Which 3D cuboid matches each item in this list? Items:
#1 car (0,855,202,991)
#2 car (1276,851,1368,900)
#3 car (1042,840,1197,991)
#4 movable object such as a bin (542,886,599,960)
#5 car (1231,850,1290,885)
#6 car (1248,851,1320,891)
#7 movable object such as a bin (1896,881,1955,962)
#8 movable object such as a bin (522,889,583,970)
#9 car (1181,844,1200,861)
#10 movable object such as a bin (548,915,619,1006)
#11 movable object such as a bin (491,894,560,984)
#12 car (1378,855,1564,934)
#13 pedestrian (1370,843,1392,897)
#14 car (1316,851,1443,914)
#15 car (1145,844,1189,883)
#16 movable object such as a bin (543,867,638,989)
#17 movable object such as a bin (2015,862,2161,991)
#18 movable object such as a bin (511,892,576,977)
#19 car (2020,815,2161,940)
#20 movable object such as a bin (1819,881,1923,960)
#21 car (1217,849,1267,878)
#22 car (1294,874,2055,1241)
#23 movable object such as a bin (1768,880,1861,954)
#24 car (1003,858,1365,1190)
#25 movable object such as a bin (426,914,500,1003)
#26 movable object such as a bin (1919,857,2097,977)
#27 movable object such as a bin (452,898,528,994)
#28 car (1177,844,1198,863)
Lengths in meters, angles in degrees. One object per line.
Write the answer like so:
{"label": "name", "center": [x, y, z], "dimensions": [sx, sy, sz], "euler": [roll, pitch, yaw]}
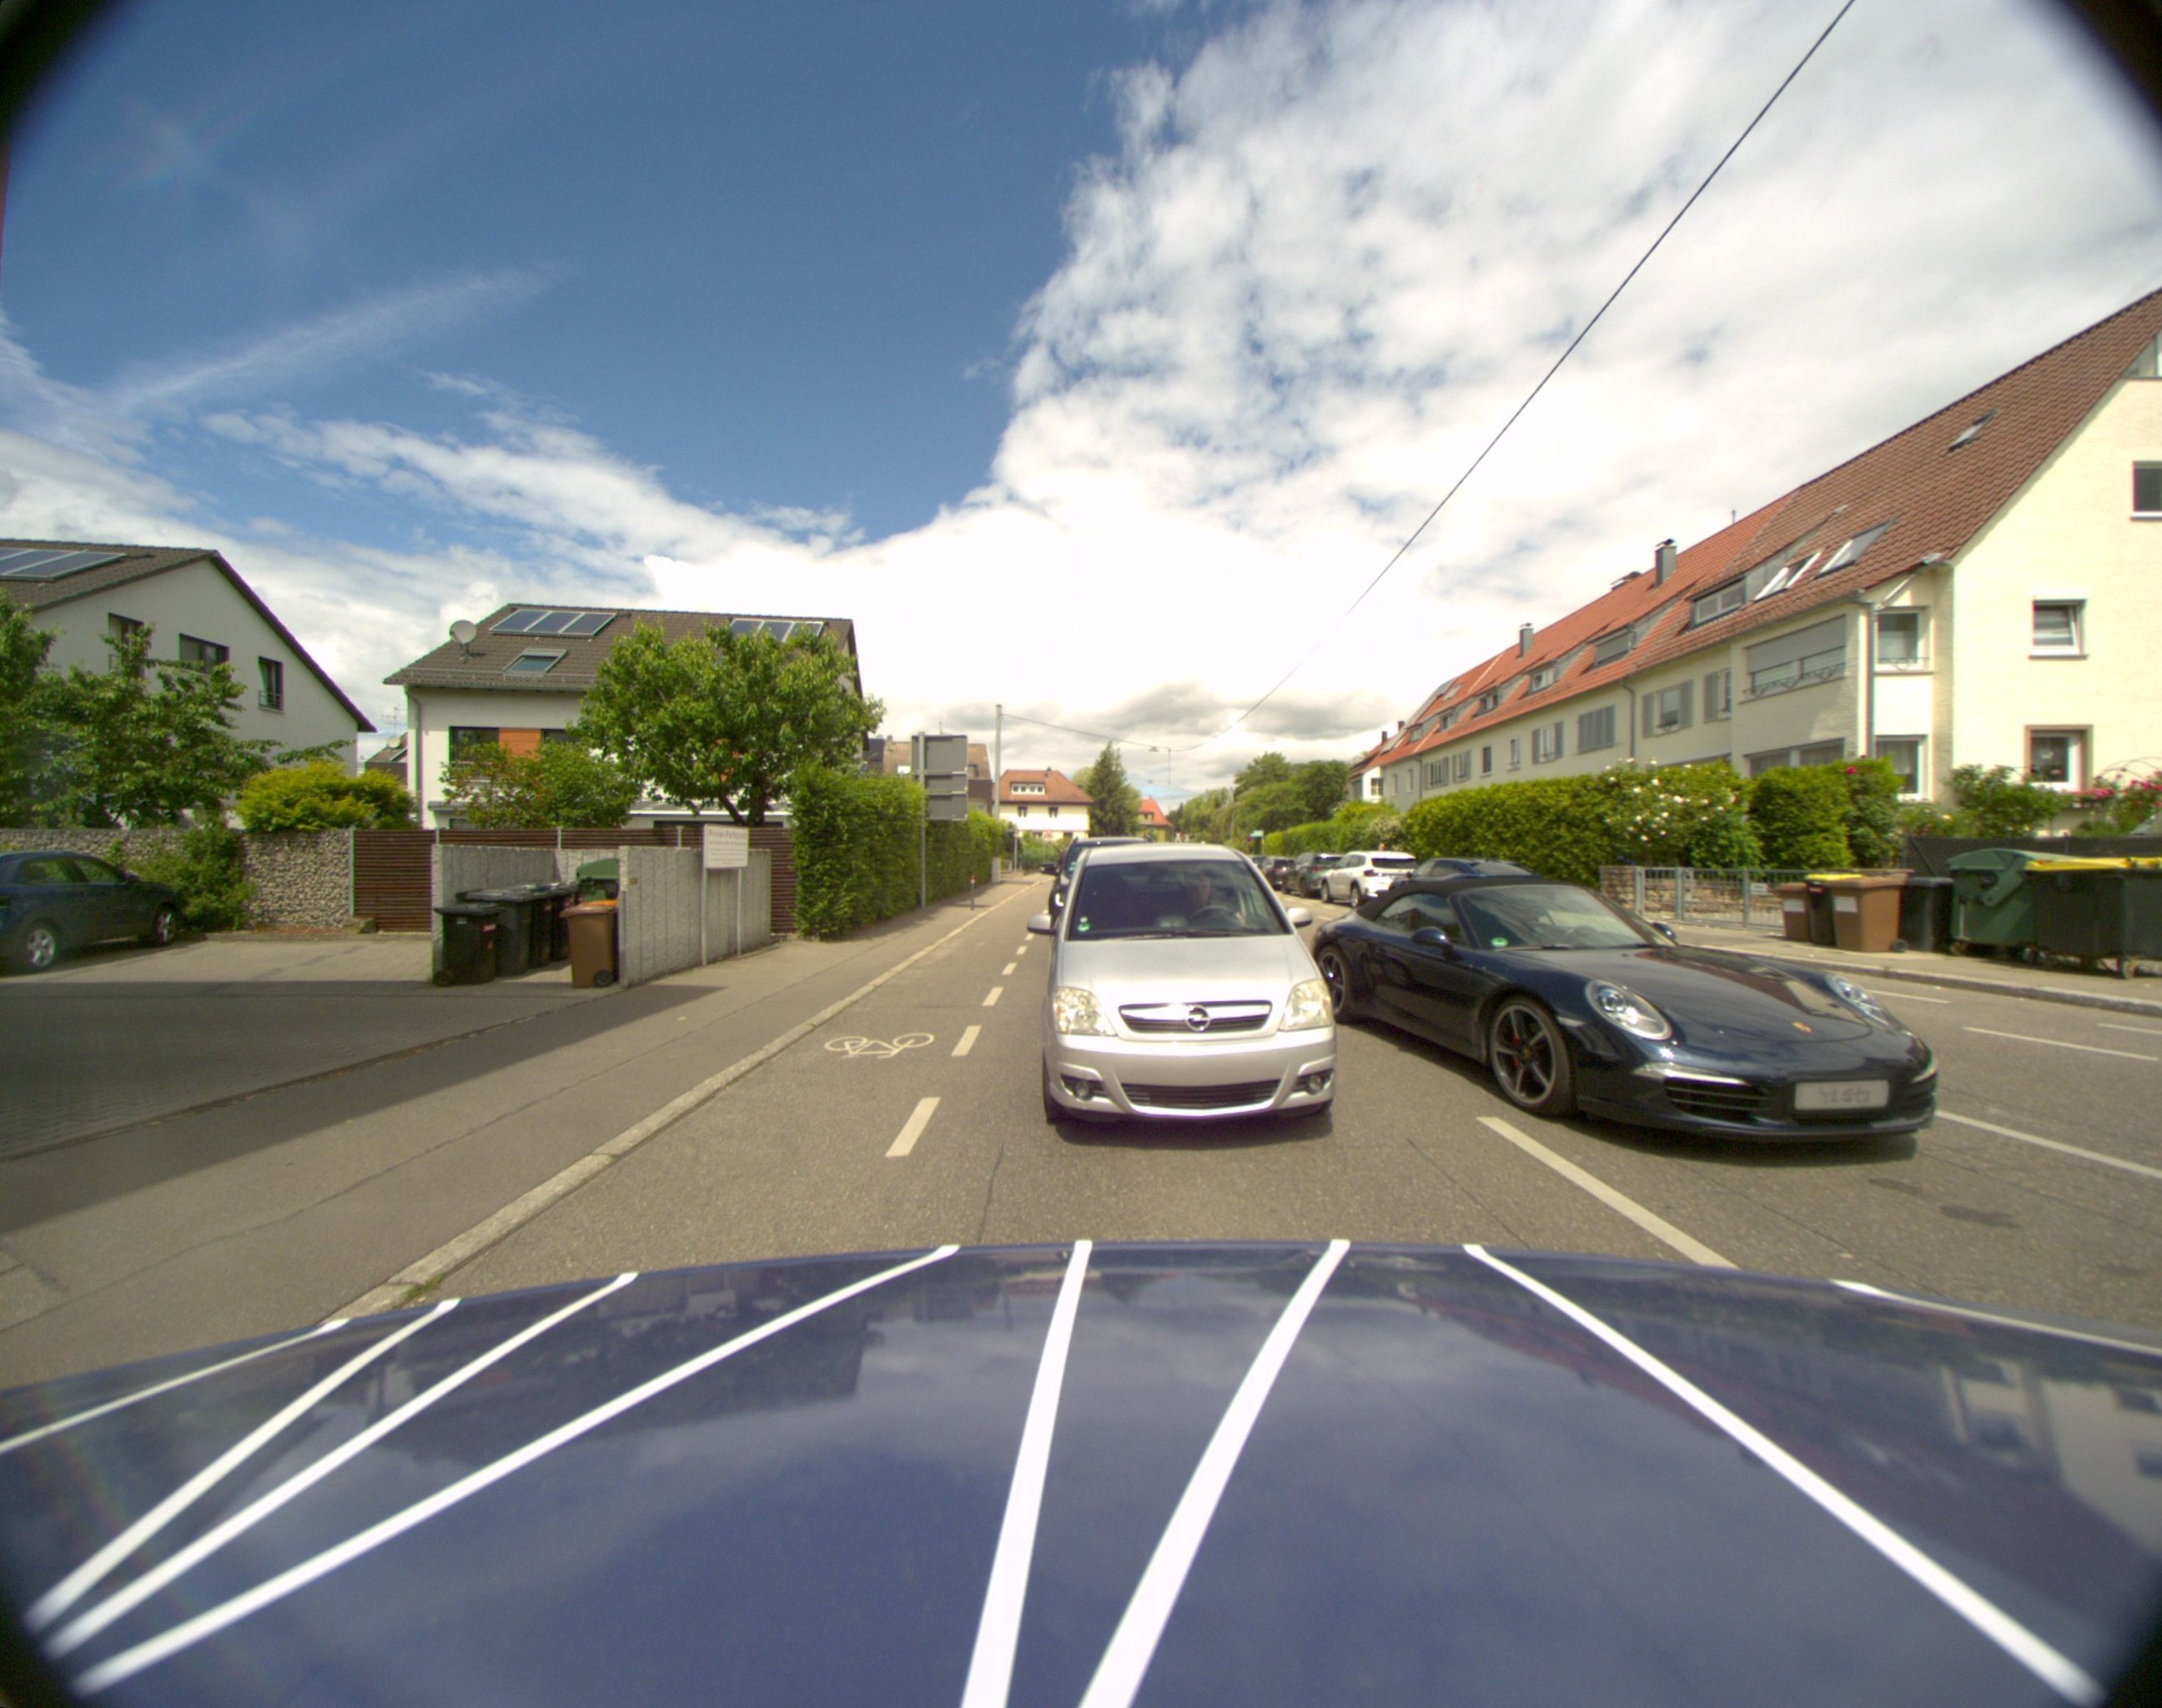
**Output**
{"label": "car", "center": [-14.828, 0.857, 10.525], "dimensions": [2.003, 1.587, 3.991], "euler": [-1, 2, -26]}
{"label": "car", "center": [8.625, 0.711, 27.580], "dimensions": [1.998, 1.623, 4.236], "euler": [-1, 1, 0]}
{"label": "car", "center": [0.421, 0.736, 12.017], "dimensions": [1.887, 1.838, 5.219], "euler": [-1, 1, -1]}
{"label": "movable object such as a bin", "center": [-7.881, 1.055, 11.744], "dimensions": [0.596, 1.069, 0.488], "euler": [-1, 1, -19]}
{"label": "car", "center": [9.059, 0.627, 38.646], "dimensions": [1.998, 1.623, 4.236], "euler": [-1, 1, 0]}
{"label": "car", "center": [8.723, 0.676, 33.053], "dimensions": [1.998, 1.623, 4.236], "euler": [0, 1, 0]}
{"label": "movable object such as a bin", "center": [11.916, 0.932, 10.724], "dimensions": [0.657, 1.059, 0.522], "euler": [-2, 1, -39]}
{"label": "movable object such as a bin", "center": [-7.485, 1.057, 10.777], "dimensions": [0.596, 1.069, 0.488], "euler": [-1, 1, -24]}
{"label": "car", "center": [12.868, -0.234, 89.051], "dimensions": [1.997, 1.904, 4.072], "euler": [-1, 1, 11]}
{"label": "movable object such as a bin", "center": [-5.499, 1.159, 8.418], "dimensions": [0.519, 0.916, 0.478], "euler": [-1, 1, -18]}
{"label": "movable object such as a bin", "center": [-7.116, 1.070, 9.763], "dimensions": [0.596, 1.069, 0.488], "euler": [-1, 1, -24]}
{"label": "car", "center": [8.612, 0.811, 17.309], "dimensions": [1.819, 1.493, 4.452], "euler": [-1, 1, -2]}
{"label": "pedestrian", "center": [10.216, 0.526, 25.880], "dimensions": [0.533, 1.805, 0.511], "euler": [-1, 1, -4]}
{"label": "car", "center": [8.555, 0.740, 22.257], "dimensions": [1.998, 1.623, 4.453], "euler": [-1, 1, 0]}
{"label": "car", "center": [4.456, 0.444, 39.775], "dimensions": [1.998, 1.904, 4.069], "euler": [-1, 1, 2]}
{"label": "movable object such as a bin", "center": [-6.043, 0.894, 9.388], "dimensions": [0.809, 1.446, 0.479], "euler": [-1, 1, -4]}
{"label": "movable object such as a bin", "center": [11.822, 0.789, 8.682], "dimensions": [1.092, 1.354, 0.980], "euler": [-1, 1, 0]}
{"label": "movable object such as a bin", "center": [-7.262, 1.073, 10.287], "dimensions": [0.596, 1.069, 0.488], "euler": [-1, 1, -24]}
{"label": "car", "center": [19.376, 0.329, 13.062], "dimensions": [3.997, 2.002, 2.000], "euler": [-1, 1, 0]}
{"label": "movable object such as a bin", "center": [11.276, 0.939, 10.870], "dimensions": [0.763, 1.059, 0.693], "euler": [-1, 1, 7]}
{"label": "car", "center": [9.293, 0.511, 44.194], "dimensions": [1.998, 1.623, 4.236], "euler": [-1, 1, 0]}
{"label": "car", "center": [3.180, 0.902, 5.273], "dimensions": [1.816, 1.356, 4.041], "euler": [-1, 1, -8]}
{"label": "movable object such as a bin", "center": [11.220, 0.951, 11.640], "dimensions": [0.763, 1.059, 0.693], "euler": [-1, 1, 7]}
{"label": "car", "center": [0.530, 0.860, 5.770], "dimensions": [1.774, 1.566, 4.001], "euler": [-1, 1, 0]}
{"label": "movable object such as a bin", "center": [-7.032, 1.175, 8.664], "dimensions": [0.519, 0.916, 0.478], "euler": [-1, 1, -24]}
{"label": "movable object such as a bin", "center": [11.911, 0.777, 9.809], "dimensions": [1.092, 1.438, 0.980], "euler": [-1, 1, 0]}
{"label": "movable object such as a bin", "center": [-7.117, 1.093, 9.178], "dimensions": [0.596, 1.069, 0.488], "euler": [-1, 1, -24]}
{"label": "car", "center": [11.536, -0.055, 81.908], "dimensions": [1.997, 1.904, 4.072], "euler": [-1, 1, 11]}
